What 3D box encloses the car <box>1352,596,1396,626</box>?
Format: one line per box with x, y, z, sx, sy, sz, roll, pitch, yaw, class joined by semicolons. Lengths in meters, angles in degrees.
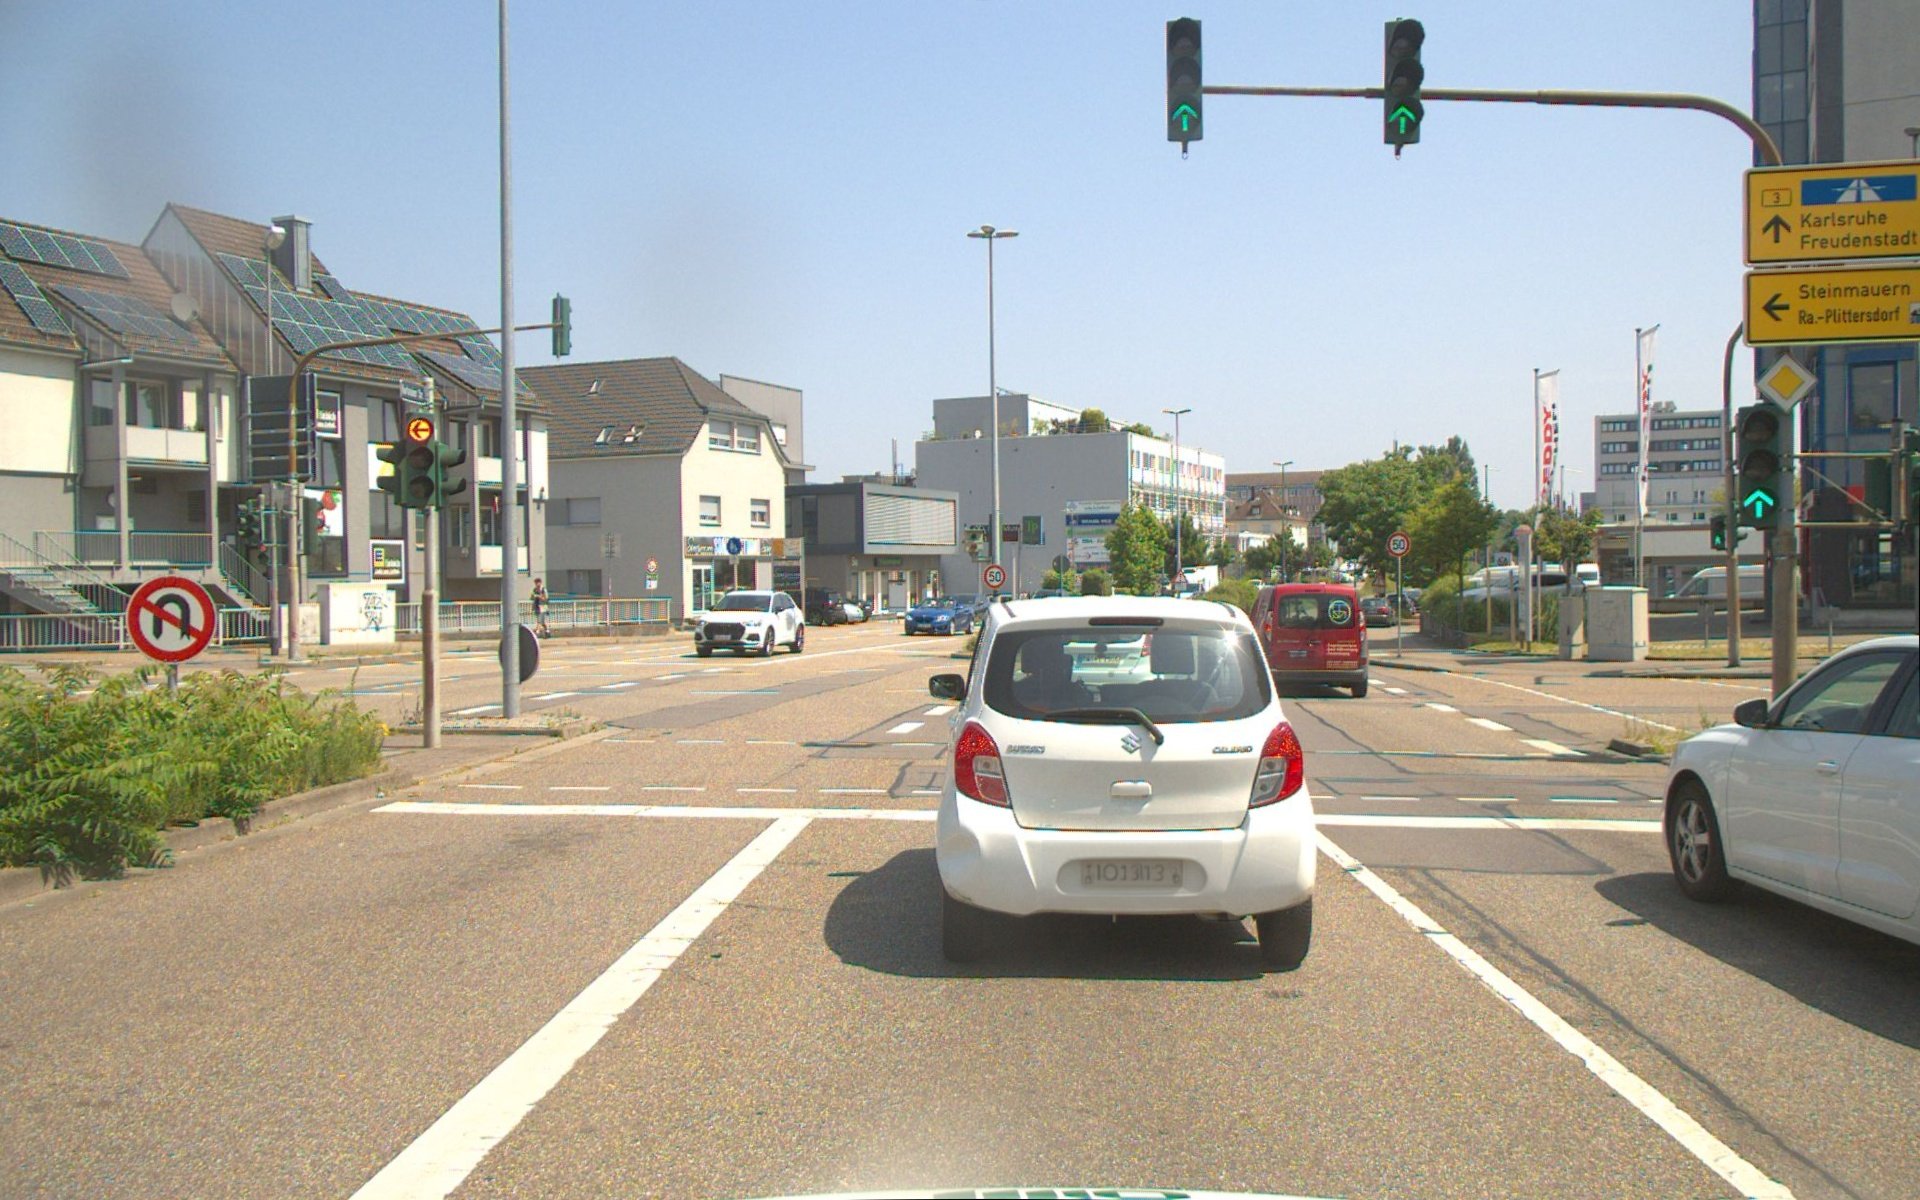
20.903;0.532;83.457;1.760;1.430;4.321;1;1;19;car

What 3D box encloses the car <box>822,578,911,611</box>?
-4.700;-0.265;83.106;3.971;1.548;2.001;-1;0;18;car

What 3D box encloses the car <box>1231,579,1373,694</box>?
5.618;0.556;27.606;1.757;1.759;3.974;1;0;4;car

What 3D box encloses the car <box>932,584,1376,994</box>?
0.761;0.726;7.901;1.677;1.537;3.247;0;0;1;car

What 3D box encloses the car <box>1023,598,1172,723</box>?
1.892;0.733;22.118;1.791;1.475;4.003;1;0;6;car

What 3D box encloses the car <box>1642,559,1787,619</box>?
33.405;-0.510;73.375;5.768;2.572;2.118;1;-1;24;car

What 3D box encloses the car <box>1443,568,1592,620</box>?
19.915;-0.214;59.163;4.631;1.743;1.998;1;0;-4;car

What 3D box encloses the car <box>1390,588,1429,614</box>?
30.278;0.026;111.355;1.920;1.556;5.162;-3;0;21;car

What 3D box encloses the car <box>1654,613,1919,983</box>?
4.582;0.789;7.137;1.633;1.424;3.793;0;0;1;car

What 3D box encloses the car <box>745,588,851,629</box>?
-7.533;0.368;77.093;4.512;1.655;1.854;3;1;21;car

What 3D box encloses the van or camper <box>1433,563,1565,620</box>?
29.275;-0.458;89.781;6.656;2.948;2.276;-1;1;21;van or camper

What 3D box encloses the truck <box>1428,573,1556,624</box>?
27.525;-0.066;85.587;6.118;2.377;2.368;-2;1;23;truck

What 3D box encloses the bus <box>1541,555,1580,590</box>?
60.620;-2.812;166.761;2.749;3.132;12.279;0;2;25;bus

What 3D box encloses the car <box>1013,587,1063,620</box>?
4.160;0.150;87.775;1.951;1.685;4.598;-1;1;11;car

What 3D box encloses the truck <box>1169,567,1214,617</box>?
16.785;-0.554;119.636;2.217;3.477;7.043;1;0;16;truck

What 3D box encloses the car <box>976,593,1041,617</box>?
3.124;0.347;106.480;3.903;1.485;1.576;-1;-1;17;car

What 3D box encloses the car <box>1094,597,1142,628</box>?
7.695;0.584;80.249;1.823;1.456;4.748;1;0;12;car

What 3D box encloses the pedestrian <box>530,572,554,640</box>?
-12.854;0.172;50.862;0.492;2.048;0.743;1;1;5;pedestrian

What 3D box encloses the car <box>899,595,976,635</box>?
-0.774;0.525;60.378;1.823;1.390;4.350;1;0;13;car

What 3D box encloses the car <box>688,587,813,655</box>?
-5.210;0.502;41.803;1.778;1.597;4.560;1;0;11;car

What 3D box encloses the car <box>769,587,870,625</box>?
-6.817;0.264;80.551;4.508;1.522;1.754;4;2;13;car
